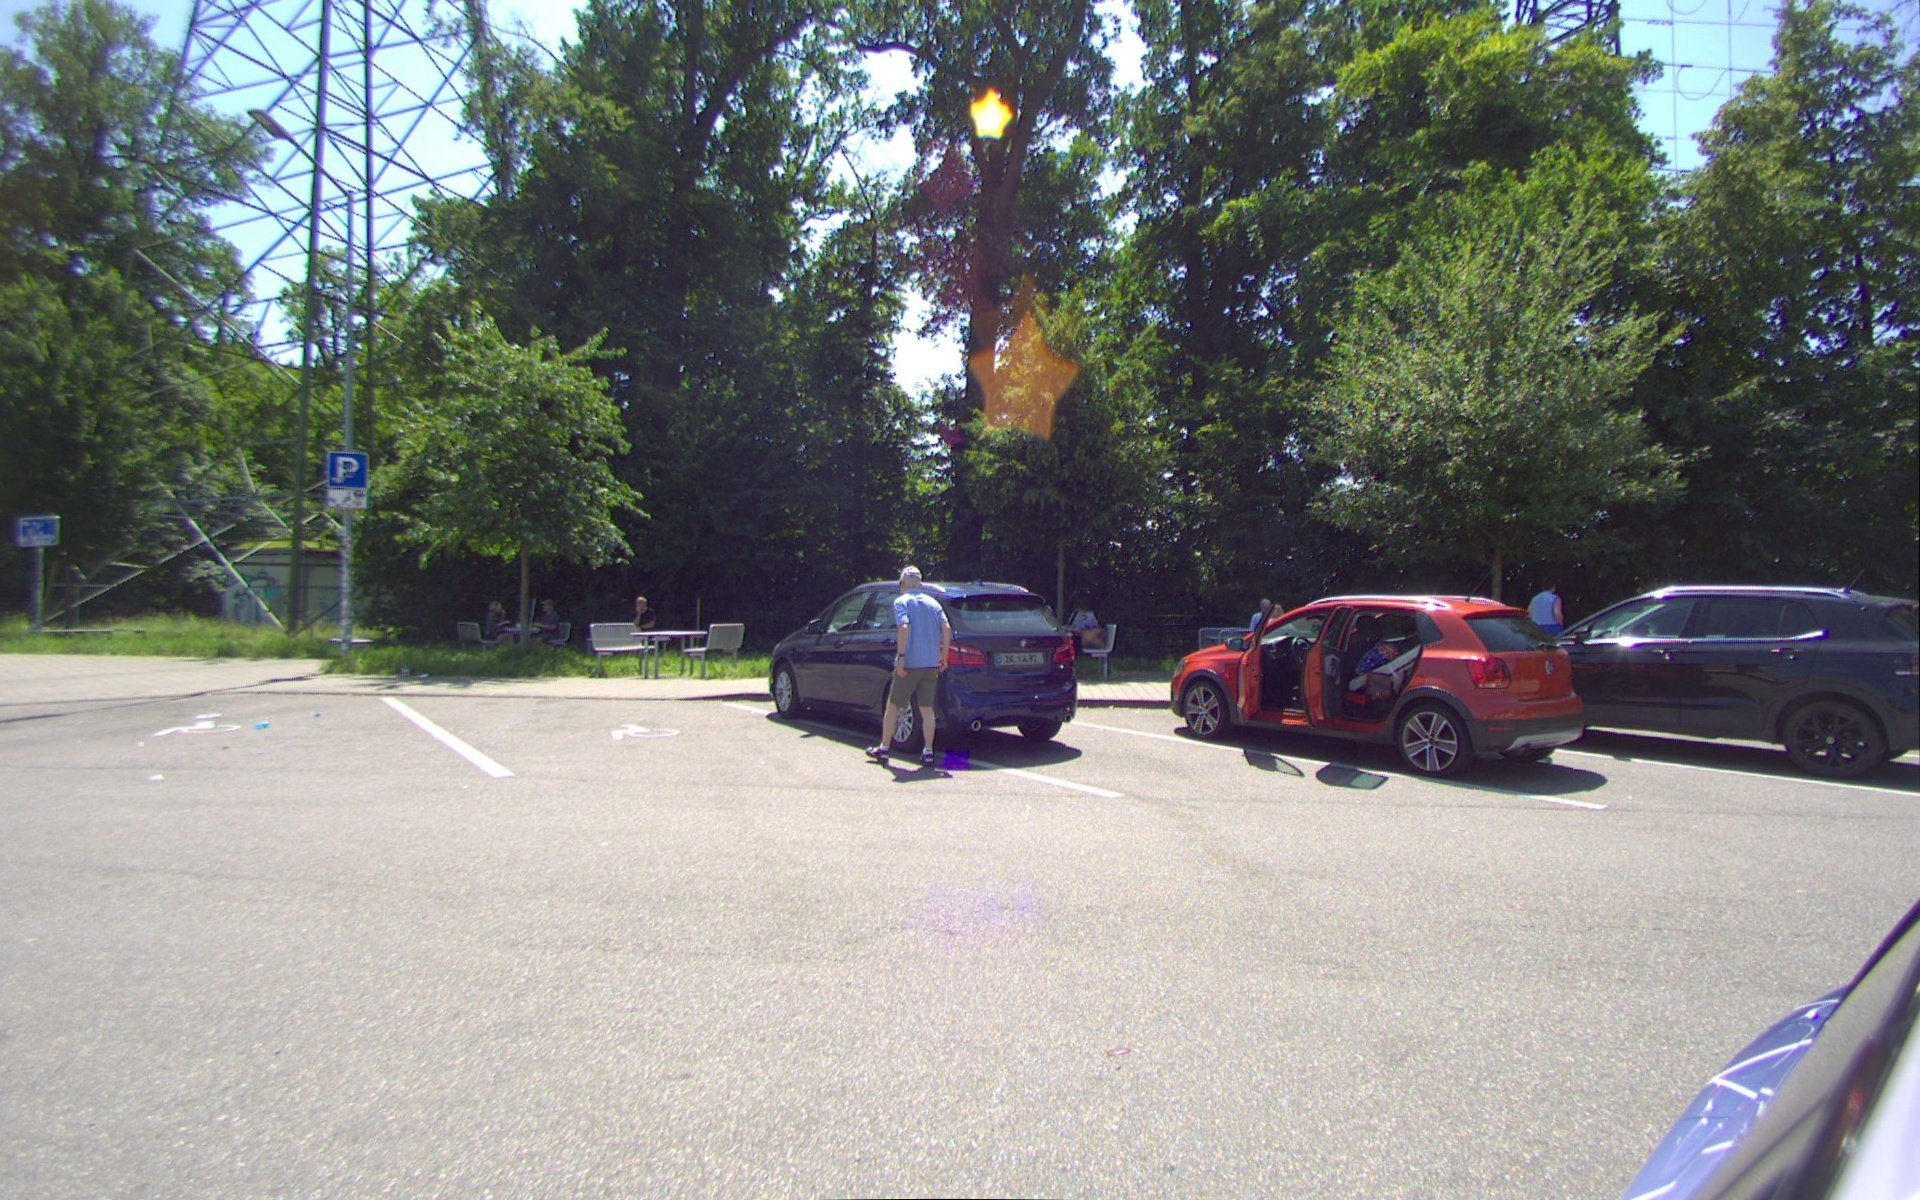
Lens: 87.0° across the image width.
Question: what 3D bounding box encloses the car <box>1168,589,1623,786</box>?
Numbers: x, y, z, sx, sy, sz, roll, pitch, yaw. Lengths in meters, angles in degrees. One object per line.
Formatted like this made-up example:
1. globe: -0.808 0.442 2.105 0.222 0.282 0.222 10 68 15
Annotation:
1. car: 3.881 0.644 9.606 1.559 1.467 3.737 1 0 -33

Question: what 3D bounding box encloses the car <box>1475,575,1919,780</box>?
1. car: 7.246 0.594 9.721 1.707 1.607 3.732 1 0 -39

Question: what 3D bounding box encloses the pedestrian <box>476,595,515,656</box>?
1. pedestrian: -10.490 0.555 22.854 0.687 1.352 0.563 0 0 -40

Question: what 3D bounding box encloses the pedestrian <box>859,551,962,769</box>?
1. pedestrian: -0.436 0.483 8.651 0.661 1.754 0.835 1 0 -19

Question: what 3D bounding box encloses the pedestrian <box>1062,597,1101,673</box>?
1. pedestrian: 2.043 0.579 17.028 0.576 1.251 0.697 0 -1 1

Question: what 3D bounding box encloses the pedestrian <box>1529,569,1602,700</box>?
1. pedestrian: 8.798 0.482 14.713 0.510 1.854 0.767 0 0 -13

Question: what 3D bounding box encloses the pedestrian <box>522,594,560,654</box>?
1. pedestrian: -9.733 0.544 23.492 0.687 1.352 0.563 0 0 -40

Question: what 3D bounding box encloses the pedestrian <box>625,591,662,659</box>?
1. pedestrian: -6.661 0.520 21.331 0.553 1.408 0.700 0 0 2

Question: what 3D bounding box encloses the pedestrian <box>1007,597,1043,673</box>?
1. pedestrian: 1.095 0.584 17.095 0.576 1.251 0.697 0 -1 1

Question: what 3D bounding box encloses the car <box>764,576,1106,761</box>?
1. car: -0.457 0.556 10.679 1.776 1.562 3.940 1 0 -34
